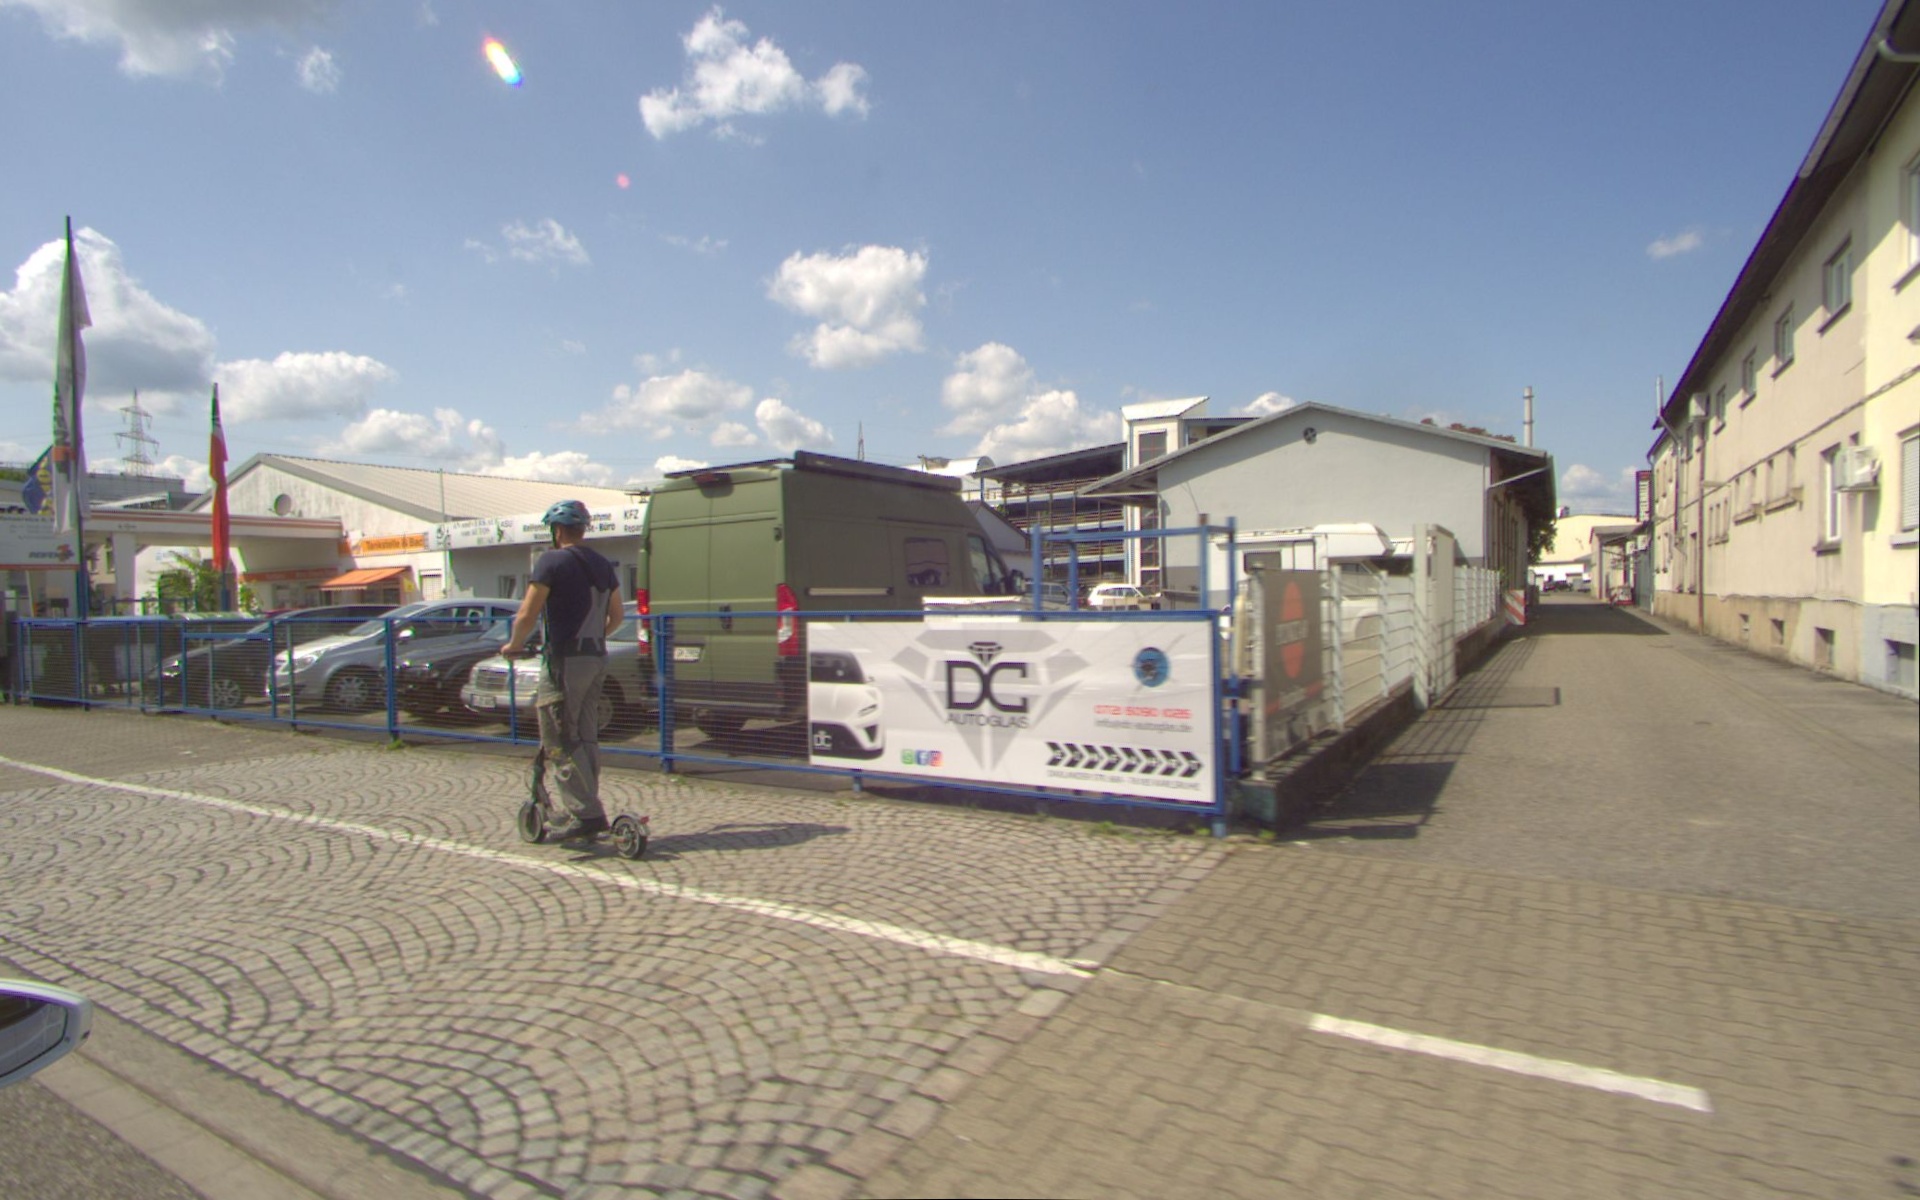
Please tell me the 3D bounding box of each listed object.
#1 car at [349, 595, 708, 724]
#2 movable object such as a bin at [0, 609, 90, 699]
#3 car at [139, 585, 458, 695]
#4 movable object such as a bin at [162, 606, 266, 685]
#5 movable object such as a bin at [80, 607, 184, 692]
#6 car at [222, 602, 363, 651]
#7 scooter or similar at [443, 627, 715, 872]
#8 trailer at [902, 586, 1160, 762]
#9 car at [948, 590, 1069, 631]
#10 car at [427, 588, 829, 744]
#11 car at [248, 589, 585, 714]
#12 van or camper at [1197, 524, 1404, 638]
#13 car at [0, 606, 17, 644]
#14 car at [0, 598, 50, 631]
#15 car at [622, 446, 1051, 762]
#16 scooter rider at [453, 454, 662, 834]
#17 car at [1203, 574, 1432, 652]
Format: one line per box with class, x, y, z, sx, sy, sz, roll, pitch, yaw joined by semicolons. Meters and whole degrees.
car;-5.537;0.671;13.248;1.799;1.374;3.968;-1;1;40
movable object such as a bin;-16.156;0.919;17.469;0.812;1.464;1.253;-1;2;32
car;-10.210;0.534;15.622;3.955;1.462;1.696;-2;1;-41
movable object such as a bin;-14.671;0.871;19.723;0.939;1.464;1.320;-1;1;25
movable object such as a bin;-15.344;0.894;18.581;0.812;1.464;1.253;-1;2;32
car;-20.964;0.802;31.568;1.589;1.379;3.312;-1;1;32
scooter or similar;-2.189;0.780;5.699;1.588;1.211;0.539;-1;3;32
trailer;0.786;0.590;9.549;1.284;1.351;2.775;-1;2;32
car;1.825;0.396;37.653;4.119;1.407;1.918;-1;1;31
car;-3.682;0.624;11.764;1.798;1.450;4.165;-1;1;39
car;-7.721;0.637;14.457;3.958;1.516;1.734;-2;1;-43
van or camper;9.247;-0.460;27.263;4.986;2.810;2.304;-1;1;29
car;-38.141;1.009;38.302;3.941;1.439;1.956;-1;1;30
car;-51.558;0.816;53.445;1.937;1.671;3.978;-1;1;31
car;-1.047;0.017;10.772;2.121;2.608;4.525;-1;1;33
scooter rider;-2.288;0.223;5.735;0.774;1.991;0.715;1;4;32
car;7.246;0.262;20.383;4.119;1.435;1.749;-1;1;31
